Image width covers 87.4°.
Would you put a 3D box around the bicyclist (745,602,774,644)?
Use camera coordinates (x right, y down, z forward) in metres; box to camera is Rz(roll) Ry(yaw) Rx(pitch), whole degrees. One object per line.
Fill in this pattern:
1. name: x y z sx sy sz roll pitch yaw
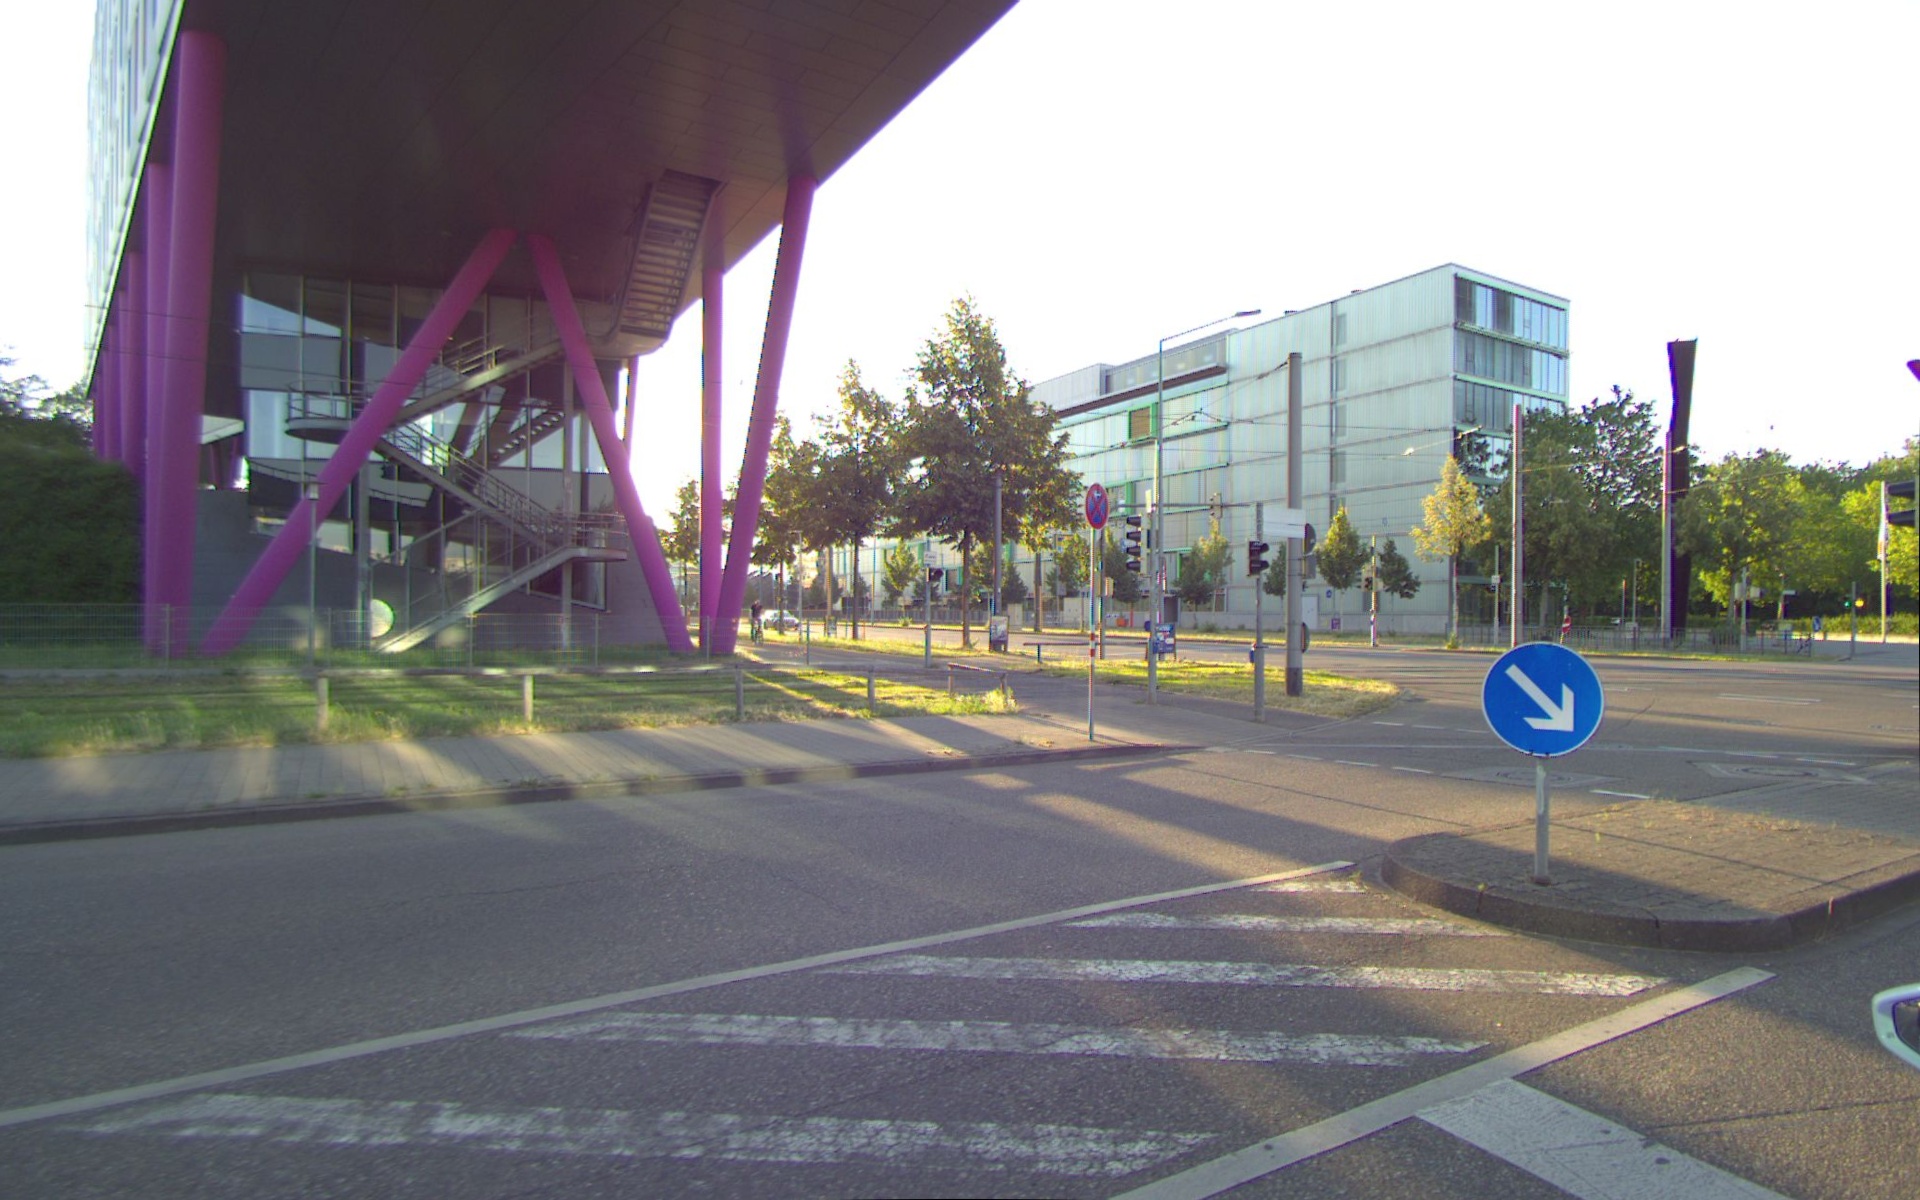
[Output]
1. bicyclist: -8.068 0.924 40.387 0.798 1.655 1.278 1 -1 -29

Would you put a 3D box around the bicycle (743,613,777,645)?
1. bicycle: -8.075 1.151 40.433 0.734 1.223 2.094 1 -1 -29

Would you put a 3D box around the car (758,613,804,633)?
1. car: -13.495 1.715 75.612 1.979 1.439 3.963 1 -1 -33

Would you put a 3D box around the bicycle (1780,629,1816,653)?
1. bicycle: 42.028 2.062 50.377 2.367 1.151 0.695 1 0 -33
